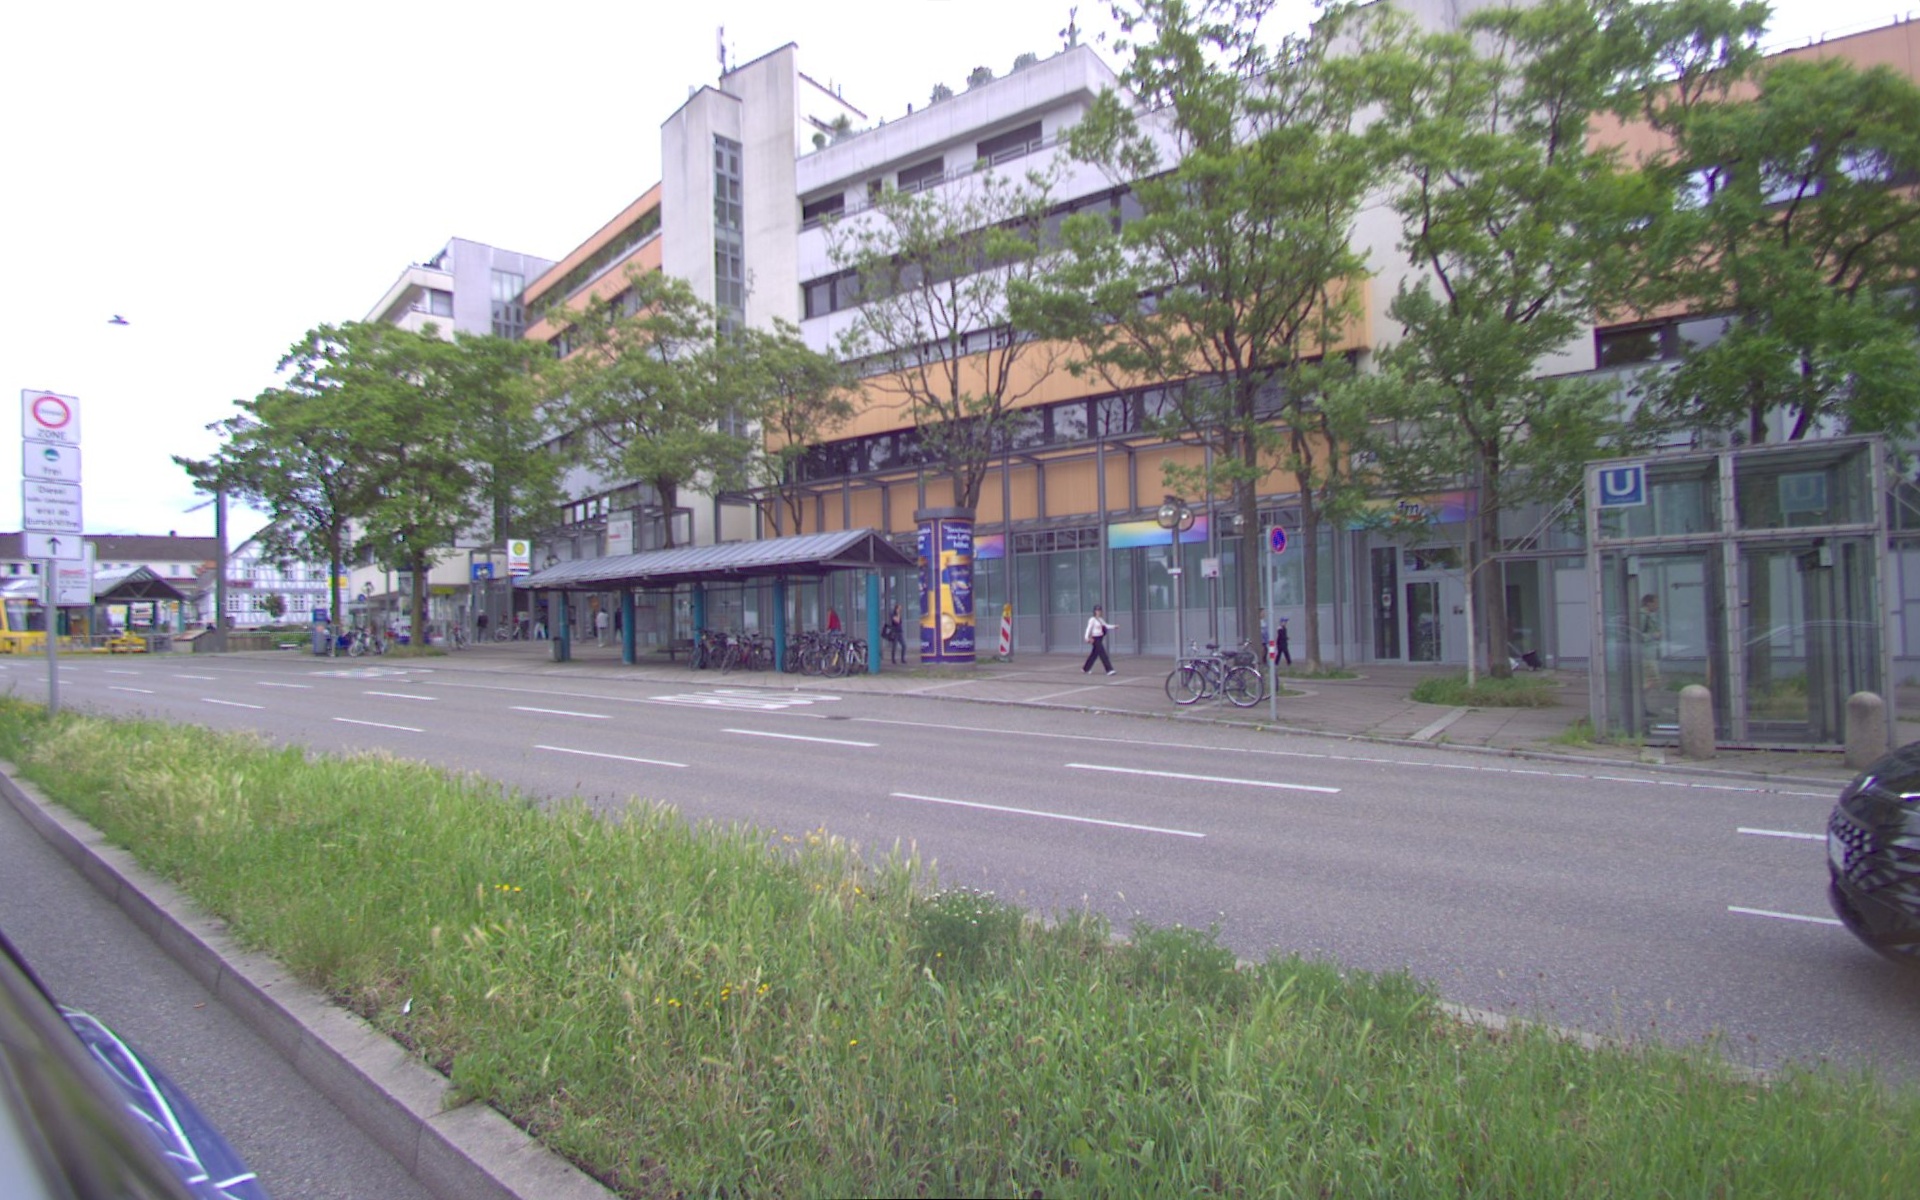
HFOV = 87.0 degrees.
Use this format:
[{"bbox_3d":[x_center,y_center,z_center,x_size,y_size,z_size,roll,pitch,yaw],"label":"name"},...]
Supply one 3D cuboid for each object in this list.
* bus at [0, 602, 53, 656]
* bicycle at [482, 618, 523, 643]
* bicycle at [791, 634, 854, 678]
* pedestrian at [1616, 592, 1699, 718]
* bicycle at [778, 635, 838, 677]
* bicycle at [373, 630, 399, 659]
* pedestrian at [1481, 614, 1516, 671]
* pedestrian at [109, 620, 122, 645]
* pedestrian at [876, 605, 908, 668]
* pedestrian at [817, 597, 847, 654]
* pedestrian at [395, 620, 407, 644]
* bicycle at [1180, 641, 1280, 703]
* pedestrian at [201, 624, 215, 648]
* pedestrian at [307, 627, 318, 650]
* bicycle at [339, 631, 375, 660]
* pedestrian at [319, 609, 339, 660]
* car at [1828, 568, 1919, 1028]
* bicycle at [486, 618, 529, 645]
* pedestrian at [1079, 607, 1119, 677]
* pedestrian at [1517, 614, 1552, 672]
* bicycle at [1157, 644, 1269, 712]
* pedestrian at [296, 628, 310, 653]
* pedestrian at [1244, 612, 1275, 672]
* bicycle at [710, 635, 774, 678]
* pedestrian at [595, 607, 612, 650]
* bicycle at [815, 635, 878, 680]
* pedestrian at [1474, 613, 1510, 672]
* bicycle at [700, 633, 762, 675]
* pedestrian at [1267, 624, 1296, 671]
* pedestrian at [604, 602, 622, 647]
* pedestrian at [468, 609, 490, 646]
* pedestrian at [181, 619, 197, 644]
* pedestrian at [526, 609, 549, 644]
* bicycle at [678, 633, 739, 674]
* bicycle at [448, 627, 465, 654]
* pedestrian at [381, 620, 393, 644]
[{"bbox_3d":[-55.970,1.679,58.623,8.470,3.006,2.530,-1,-2,29],"label":"bus"},{"bbox_3d":[-26.085,1.732,57.770,2.106,1.377,0.621,-1,0,-24],"label":"bicycle"},{"bbox_3d":[-3.605,1.455,26.595,0.549,1.048,1.714,-2,0,38],"label":"bicycle"},{"bbox_3d":[10.502,0.820,15.266,0.916,1.846,0.533,-1,-2,25],"label":"pedestrian"},{"bbox_3d":[-4.129,1.512,27.562,0.549,1.048,1.714,-2,-1,38],"label":"bicycle"},{"bbox_3d":[-22.737,1.750,40.113,0.584,1.085,2.044,0,-1,-21],"label":"bicycle"},{"bbox_3d":[13.286,1.039,24.969,0.694,1.385,0.578,-1,-2,34],"label":"pedestrian"},{"bbox_3d":[-68.725,2.615,82.358,0.731,2.029,0.940,1,-2,-39],"label":"pedestrian"},{"bbox_3d":[-1.945,1.048,29.096,0.769,1.800,0.525,-1,-2,33],"label":"pedestrian"},{"bbox_3d":[-4.659,0.914,36.787,0.792,2.029,0.702,-1,0,32],"label":"pedestrian"},{"bbox_3d":[-34.405,1.972,62.247,0.548,1.506,0.454,1,-2,-41],"label":"pedestrian"},{"bbox_3d":[4.992,1.310,18.791,1.737,1.074,0.542,-2,-1,45],"label":"bicycle"},{"bbox_3d":[-49.721,2.378,66.913,0.581,1.554,0.570,-1,-2,32],"label":"pedestrian"},{"bbox_3d":[-33.583,2.006,52.505,0.368,1.188,0.338,-1,-2,31],"label":"pedestrian"},{"bbox_3d":[-23.604,1.762,39.655,0.585,1.085,2.042,0,-1,-12],"label":"bicycle"},{"bbox_3d":[-29.181,1.577,46.807,0.608,2.325,0.583,-1,-2,39],"label":"pedestrian"},{"bbox_3d":[5.368,0.695,2.971,4.062,1.533,1.819,-1,-5,35],"label":"car"},{"bbox_3d":[-24.937,1.721,55.792,2.107,1.385,0.621,-1,0,-31],"label":"bicycle"},{"bbox_3d":[3.389,1.016,24.710,0.721,1.662,0.669,-1,-1,37],"label":"pedestrian"},{"bbox_3d":[13.857,1.032,24.413,0.694,1.385,0.578,-1,-2,34],"label":"pedestrian"},{"bbox_3d":[4.375,1.321,17.599,0.802,1.068,1.739,0,-1,-40],"label":"bicycle"},{"bbox_3d":[-41.439,2.566,63.832,0.581,1.554,0.570,-1,-2,32],"label":"pedestrian"},{"bbox_3d":[7.616,1.067,25.756,0.620,1.515,0.563,-1,-2,31],"label":"pedestrian"},{"bbox_3d":[-5.952,1.526,27.723,0.549,1.048,1.714,-2,1,38],"label":"bicycle"},{"bbox_3d":[-15.463,1.239,43.909,0.639,1.823,0.761,0,-2,-16],"label":"pedestrian"},{"bbox_3d":[-2.896,1.471,26.062,0.549,1.048,1.714,-2,0,38],"label":"bicycle"},{"bbox_3d":[12.817,1.011,24.364,0.694,1.385,0.578,-1,-2,34],"label":"pedestrian"},{"bbox_3d":[-6.446,1.509,28.586,0.549,1.048,1.714,-2,1,38],"label":"bicycle"},{"bbox_3d":[8.343,1.222,26.252,0.620,1.190,0.418,-1,-2,31],"label":"pedestrian"},{"bbox_3d":[-15.830,1.114,46.113,0.558,2.029,0.611,1,-2,-44],"label":"pedestrian"},{"bbox_3d":[-24.716,1.403,52.025,0.752,1.859,0.755,-1,-2,41],"label":"pedestrian"},{"bbox_3d":[-62.501,2.556,82.051,0.867,2.029,1.010,1,-2,-44],"label":"pedestrian"},{"bbox_3d":[-21.018,1.327,50.354,0.752,1.695,0.755,-1,-2,41],"label":"pedestrian"},{"bbox_3d":[-7.225,1.532,29.151,0.549,1.048,1.714,-2,0,38],"label":"bicycle"},{"bbox_3d":[-21.342,1.704,42.933,0.584,1.134,2.044,1,-1,-26],"label":"bicycle"},{"bbox_3d":[-35.017,1.948,61.840,0.548,1.506,0.454,1,-2,-41],"label":"pedestrian"}]
